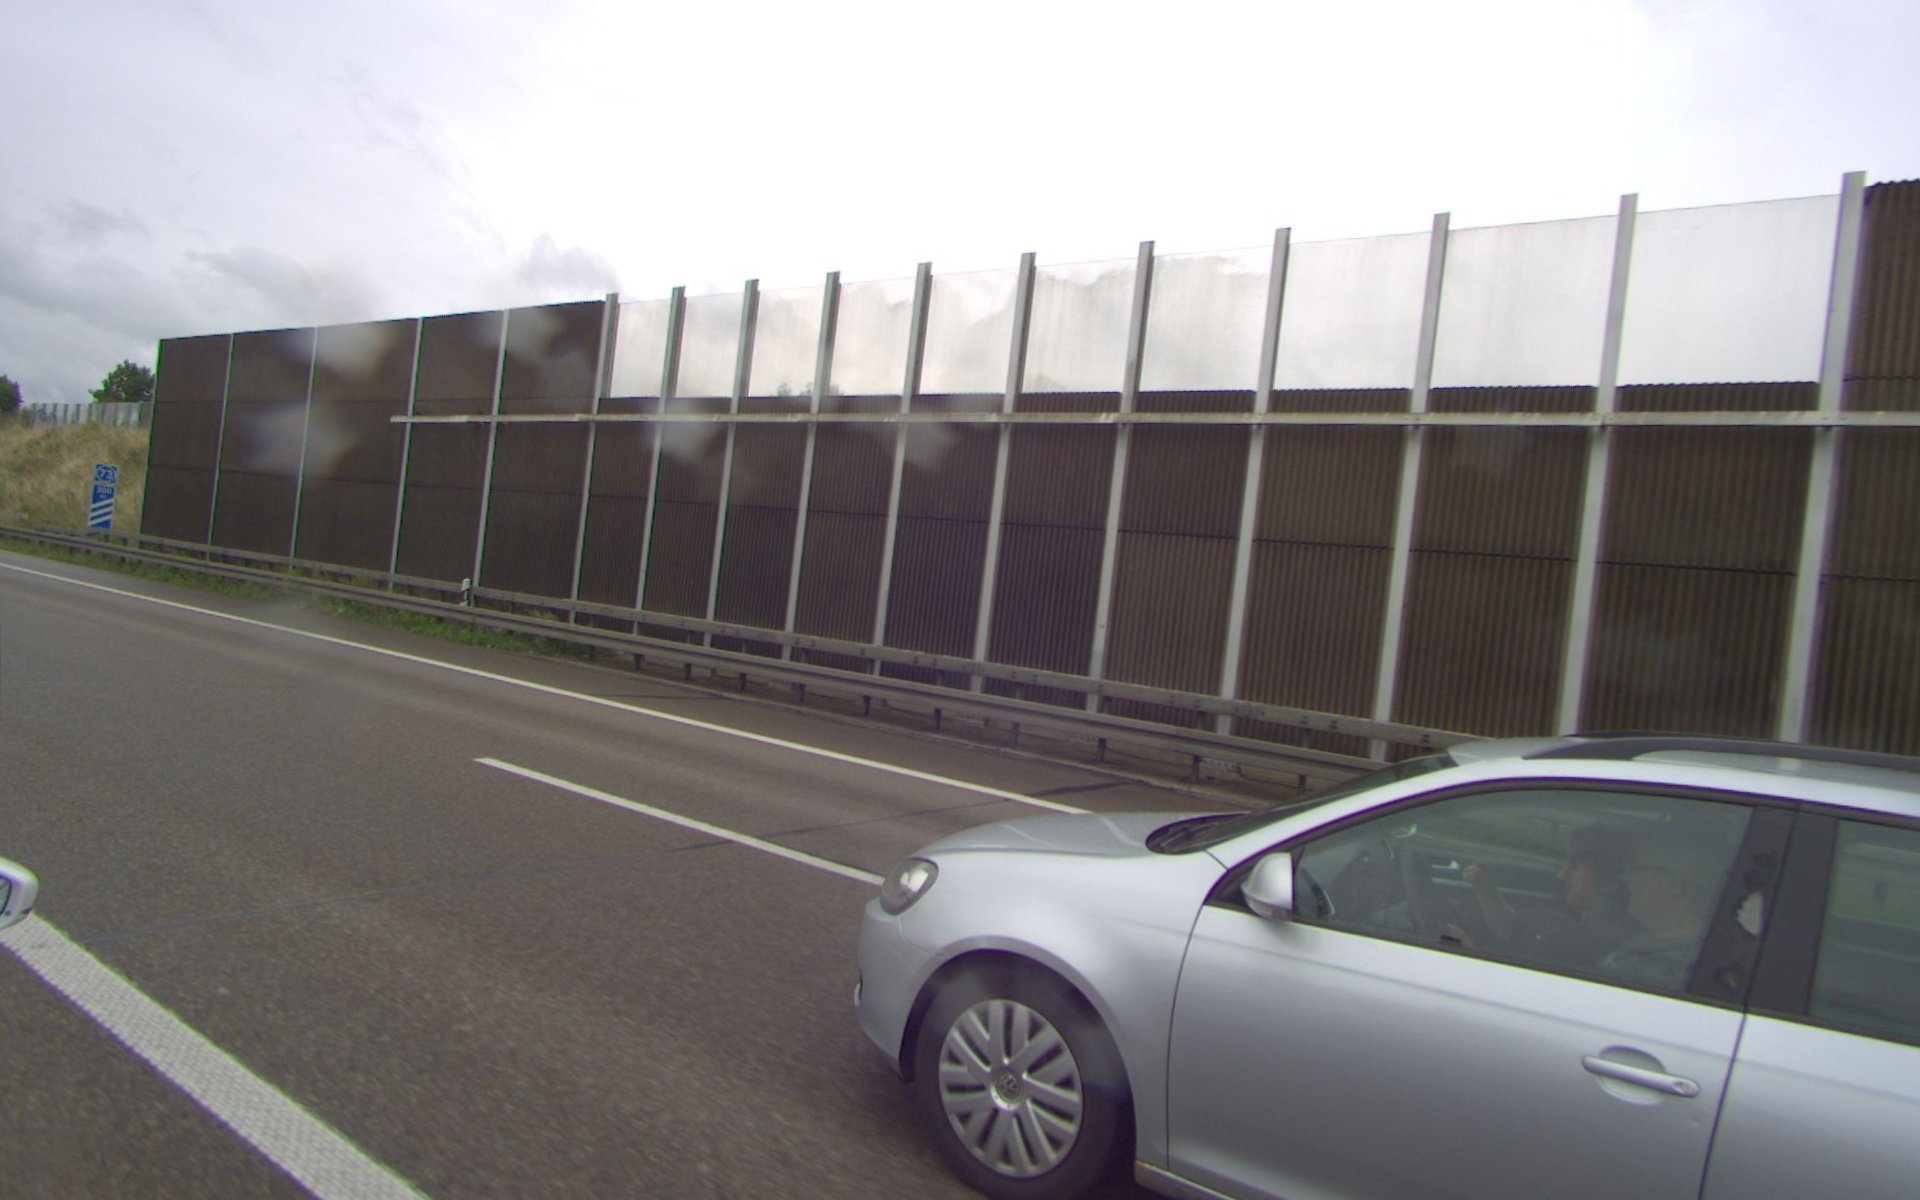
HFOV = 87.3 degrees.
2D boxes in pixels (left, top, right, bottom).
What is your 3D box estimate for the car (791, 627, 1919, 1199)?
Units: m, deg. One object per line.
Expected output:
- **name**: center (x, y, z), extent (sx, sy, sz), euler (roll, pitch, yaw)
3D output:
- **car**: center (1.902, 1.073, 2.578), extent (4.442, 1.442, 1.745), euler (6, -1, 31)
